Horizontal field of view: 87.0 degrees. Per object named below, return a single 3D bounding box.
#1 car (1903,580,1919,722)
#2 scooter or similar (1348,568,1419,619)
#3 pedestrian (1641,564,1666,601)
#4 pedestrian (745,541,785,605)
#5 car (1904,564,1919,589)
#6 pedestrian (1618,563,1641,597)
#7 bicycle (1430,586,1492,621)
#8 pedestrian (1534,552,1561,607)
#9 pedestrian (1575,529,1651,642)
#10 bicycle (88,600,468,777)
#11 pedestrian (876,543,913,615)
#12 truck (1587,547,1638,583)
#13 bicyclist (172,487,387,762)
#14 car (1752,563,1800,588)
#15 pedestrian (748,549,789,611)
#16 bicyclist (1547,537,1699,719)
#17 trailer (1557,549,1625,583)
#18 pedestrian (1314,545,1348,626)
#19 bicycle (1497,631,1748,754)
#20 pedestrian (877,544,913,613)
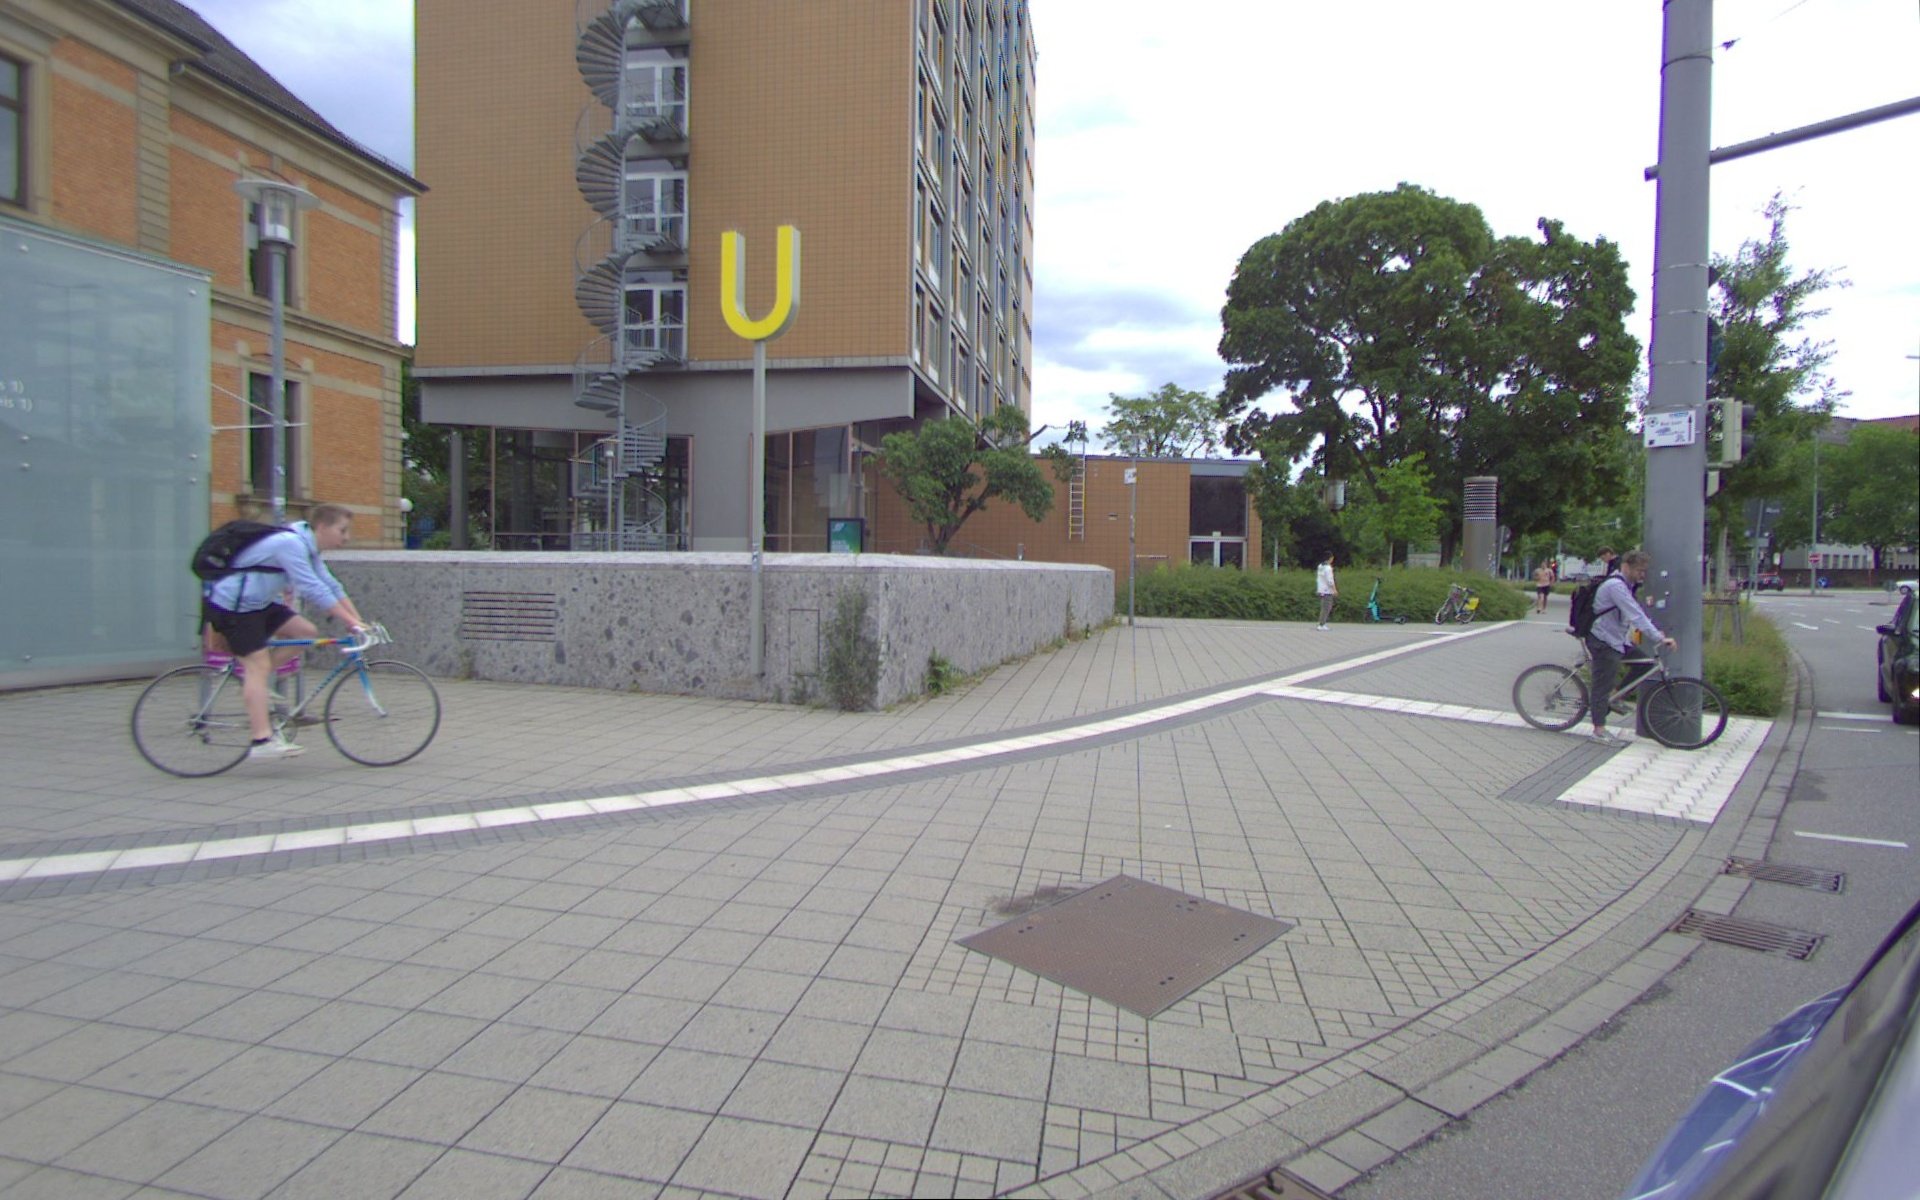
[{"bbox_3d":[11.633,0.515,11.257,1.651,1.430,3.938,2,2,43],"label":"car"},{"bbox_3d":[11.030,-0.174,26.407,1.578,1.306,0.693,0,1,9],"label":"scooter or similar"},{"bbox_3d":[35.517,-0.900,51.798,0.707,1.822,0.599,2,3,-7],"label":"pedestrian"},{"bbox_3d":[-5.496,-0.772,28.564,0.862,1.758,0.721,1,1,17],"label":"pedestrian"},{"bbox_3d":[67.668,-1.610,69.320,1.961,1.749,4.003,-1,1,-32],"label":"car"},{"bbox_3d":[36.919,-1.105,55.822,0.707,1.822,0.599,2,3,-7],"label":"pedestrian"},{"bbox_3d":[13.141,0.082,26.510,2.034,0.859,0.558,-1,2,-36],"label":"bicycle"},{"bbox_3d":[20.060,-0.709,34.551,0.627,1.822,0.590,5,4,36],"label":"pedestrian"},{"bbox_3d":[11.612,-0.263,18.023,0.859,1.952,0.723,1,1,6],"label":"pedestrian"},{"bbox_3d":[-4.109,0.524,6.254,1.820,0.944,0.675,2,4,-15],"label":"bicycle"},{"bbox_3d":[-1.628,-0.526,25.263,0.858,1.752,0.724,1,1,1],"label":"pedestrian"},{"bbox_3d":[78.434,-4.163,121.841,2.870,4.075,7.133,0,1,13],"label":"truck"},{"bbox_3d":[-4.148,0.136,6.237,0.907,1.579,0.695,2,2,-16],"label":"bicyclist"},{"bbox_3d":[68.749,-2.037,85.307,1.976,2.039,3.960,0,1,21],"label":"car"},{"bbox_3d":[-5.216,-0.549,27.615,0.862,1.651,0.721,1,1,17],"label":"pedestrian"},{"bbox_3d":[6.024,0.217,9.207,1.094,1.539,0.750,1,2,36],"label":"bicyclist"},{"bbox_3d":[79.930,-4.300,128.566,2.903,4.063,13.758,0,1,13],"label":"trailer"},{"bbox_3d":[8.505,-0.342,23.236,0.695,1.827,0.834,1,1,20],"label":"pedestrian"},{"bbox_3d":[5.994,0.792,9.238,1.816,0.850,0.758,4,3,36],"label":"bicycle"},{"bbox_3d":[-1.672,-0.564,26.259,0.858,1.764,0.724,1,1,1],"label":"pedestrian"}]
